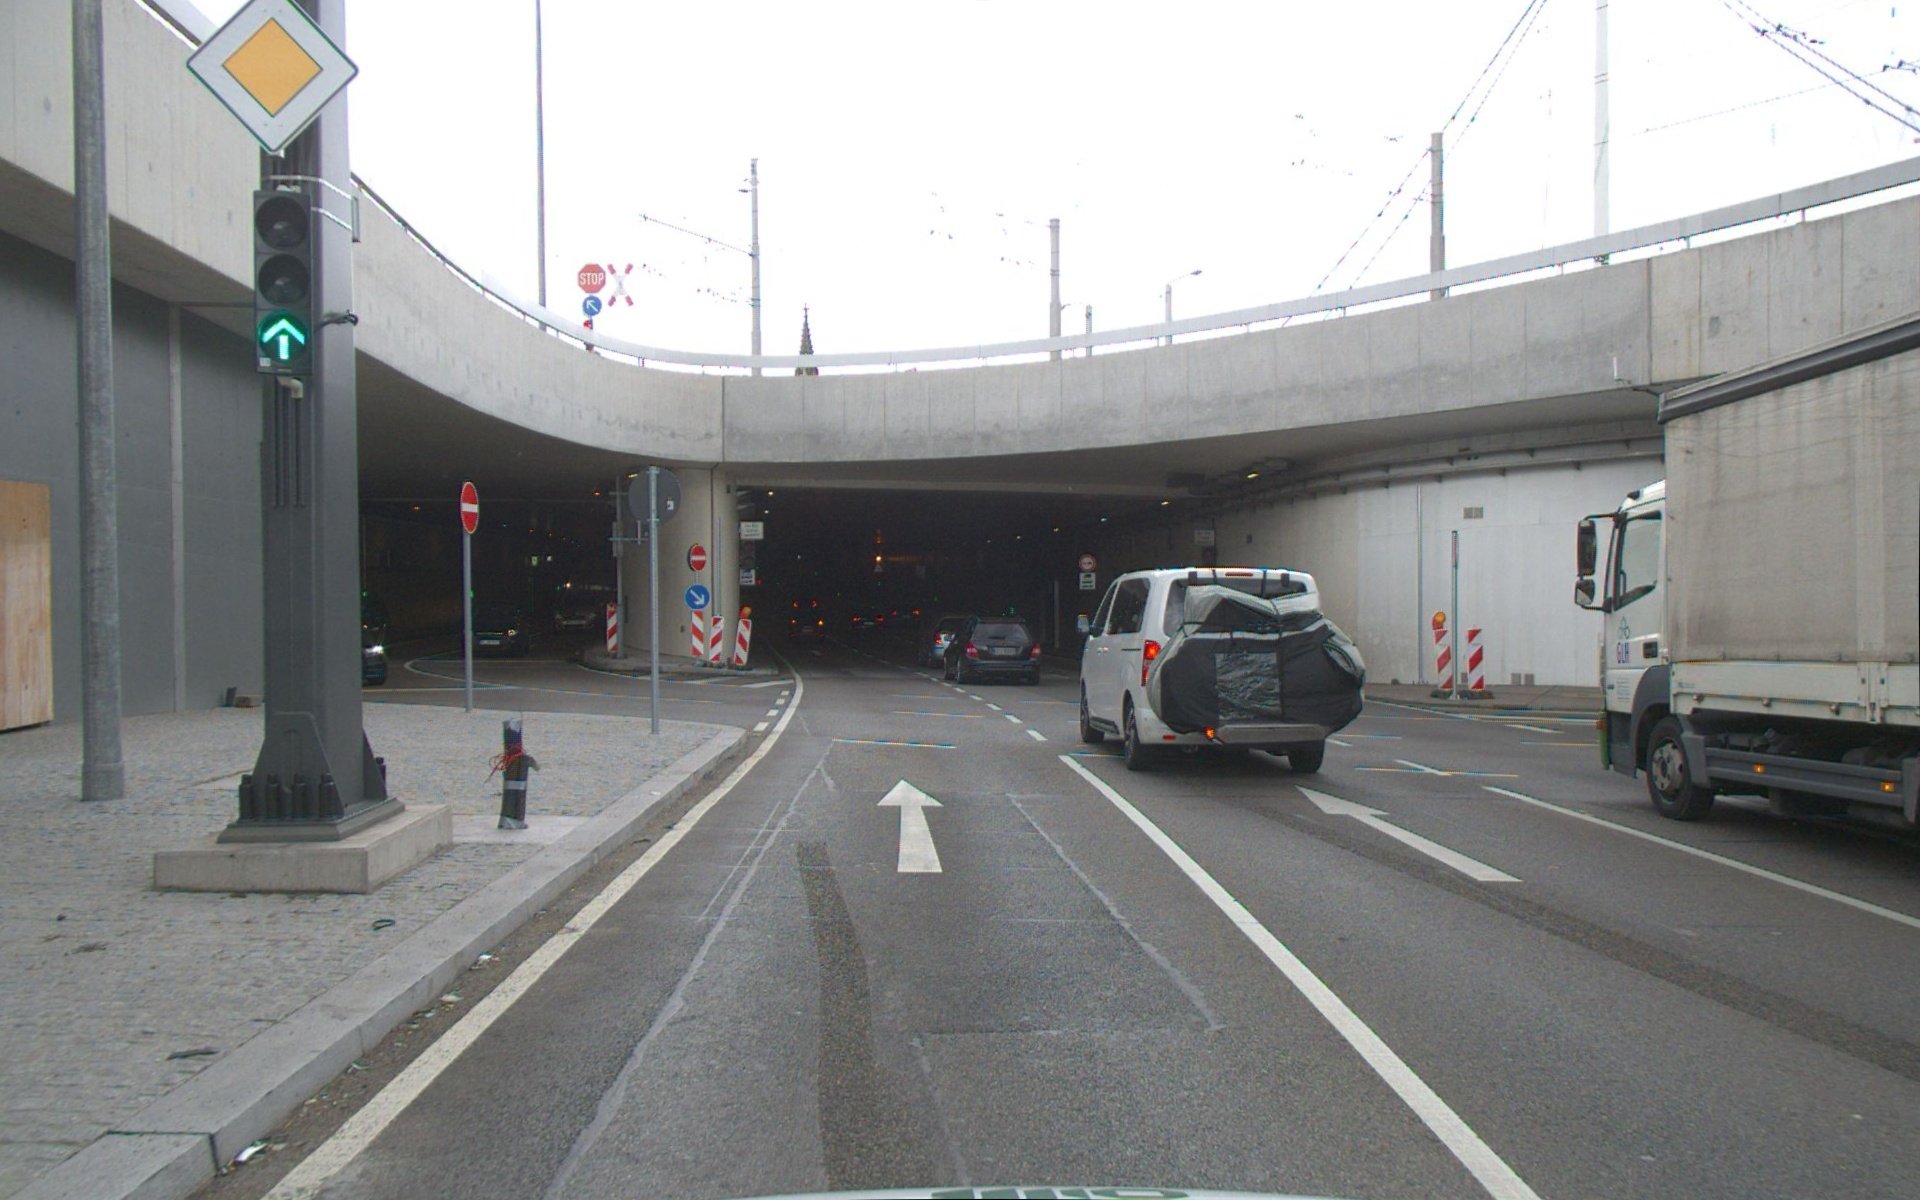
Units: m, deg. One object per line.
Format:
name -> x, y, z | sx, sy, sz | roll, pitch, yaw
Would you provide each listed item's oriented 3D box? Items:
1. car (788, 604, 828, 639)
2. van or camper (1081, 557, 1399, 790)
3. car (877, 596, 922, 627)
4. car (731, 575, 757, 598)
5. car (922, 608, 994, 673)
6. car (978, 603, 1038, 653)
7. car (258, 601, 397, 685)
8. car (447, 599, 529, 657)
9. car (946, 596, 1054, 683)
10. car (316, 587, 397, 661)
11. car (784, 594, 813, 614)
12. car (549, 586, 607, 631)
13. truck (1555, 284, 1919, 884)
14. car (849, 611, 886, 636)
car -> -6.766, 0.955, 73.569 | 1.629, 1.514, 3.561 | 0, -1, -7
van or camper -> 2.529, 0.654, 16.450 | 1.954, 1.877, 5.504 | 2, -1, -3
car -> -3.501, 0.655, 94.519 | 1.954, 1.705, 4.497 | 0, -1, -10
car -> -19.255, -1.211, 147.535 | 1.959, 2.049, 3.987 | 0, 0, -13
car -> -0.104, 1.130, 47.803 | 1.783, 1.607, 3.998 | 4, 0, -3
car -> 1.765, 1.042, 62.172 | 1.629, 1.662, 3.561 | 4, 0, -8
car -> -12.113, 0.759, 31.498 | 1.830, 1.468, 4.797 | 0, 0, -29
car -> -12.978, 0.727, 45.352 | 1.642, 1.466, 4.082 | 0, 1, -24
car -> 0.804, 0.834, 35.644 | 1.784, 1.713, 3.994 | 2, -1, -6
car -> -15.649, 0.590, 43.053 | 1.766, 1.627, 4.306 | 3, 1, -19
car -> -10.875, 0.257, 111.225 | 1.482, 1.269, 3.556 | 0, 0, -12
car -> -14.822, 0.305, 64.399 | 1.774, 1.632, 4.779 | 0, 1, -8
truck -> 6.449, -0.097, 10.427 | 2.596, 3.240, 7.424 | 0, 0, -1
car -> -4.750, 1.180, 84.372 | 1.632, 1.269, 3.561 | 0, -1, -7
